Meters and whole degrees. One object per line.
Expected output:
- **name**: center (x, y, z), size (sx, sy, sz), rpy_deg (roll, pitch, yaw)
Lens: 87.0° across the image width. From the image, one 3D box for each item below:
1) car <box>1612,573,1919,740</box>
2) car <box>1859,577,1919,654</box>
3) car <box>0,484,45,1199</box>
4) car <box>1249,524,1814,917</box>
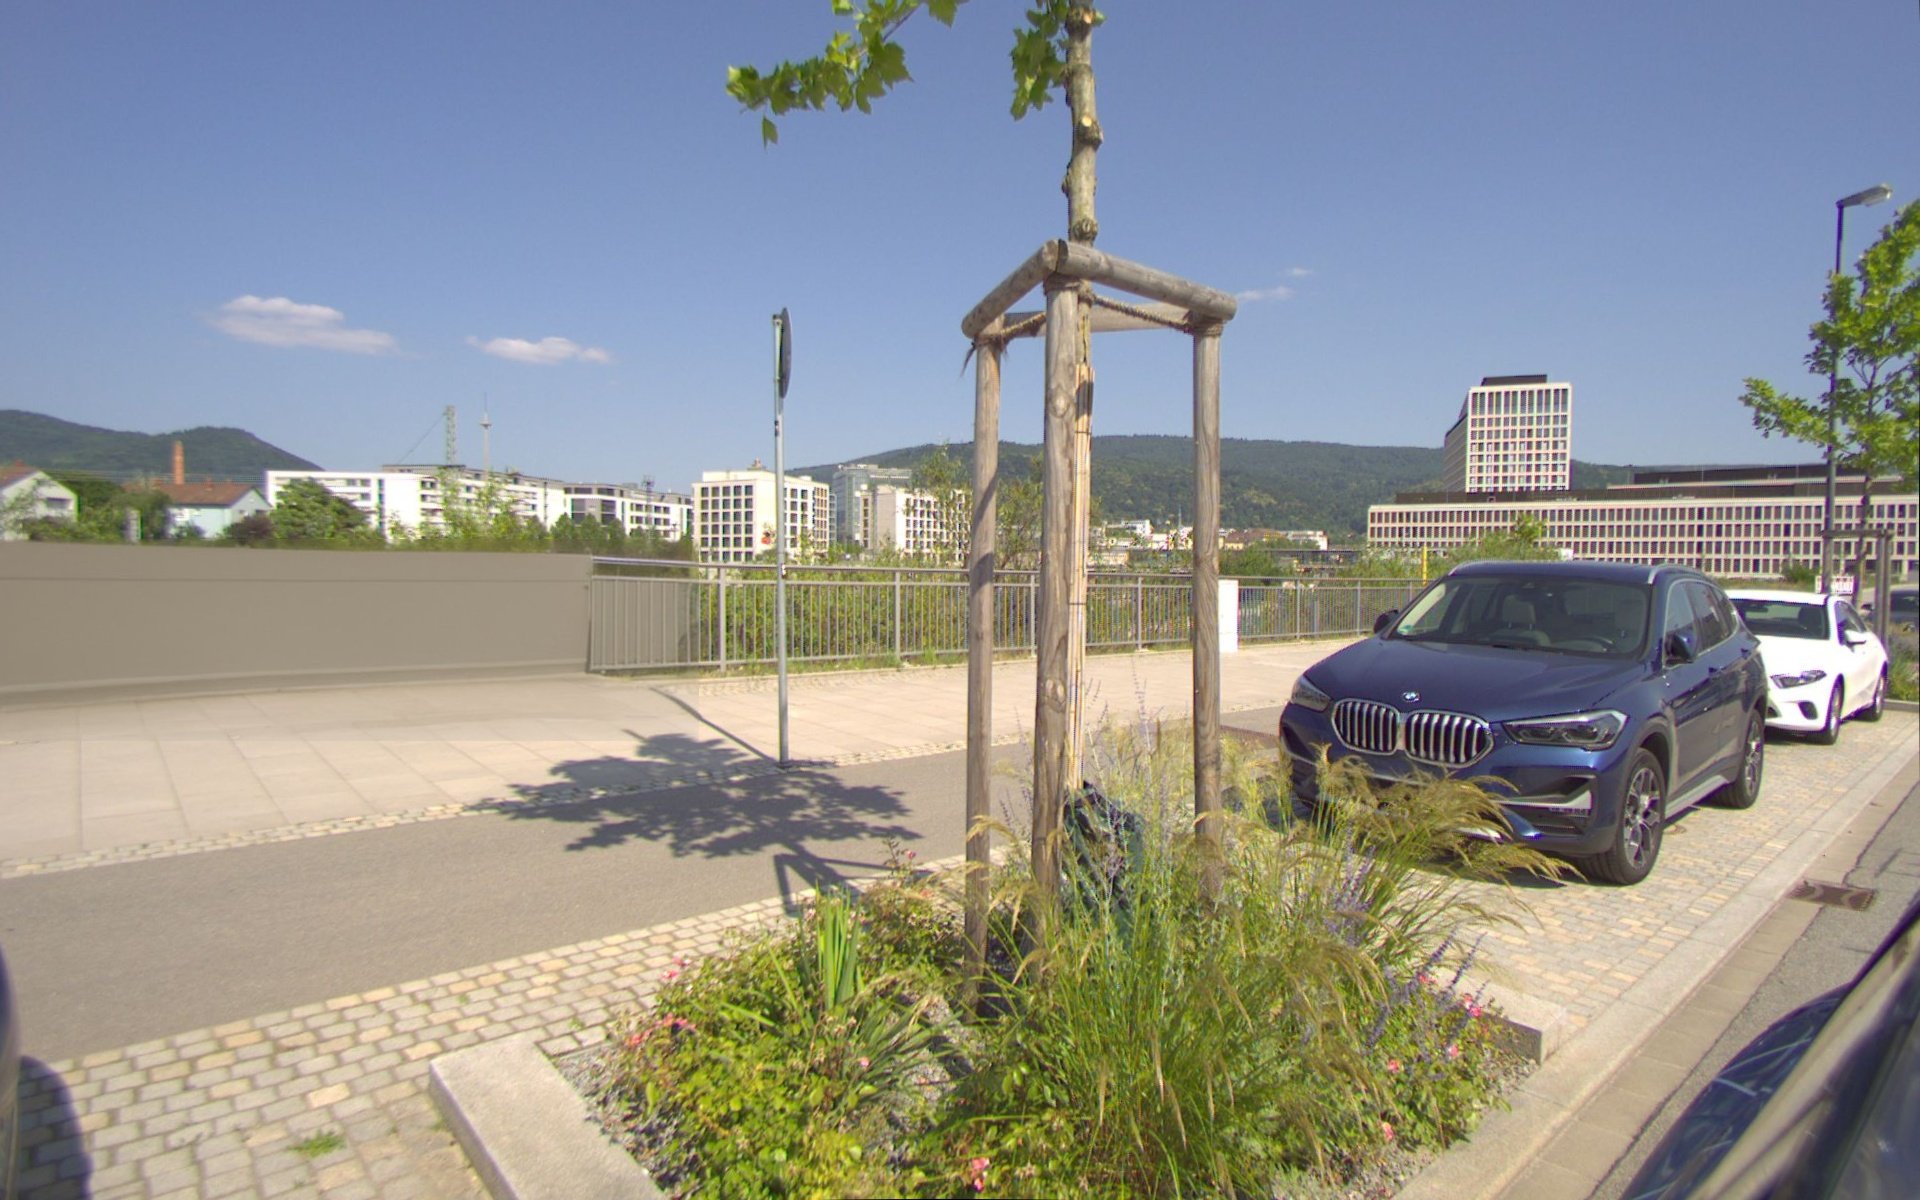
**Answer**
- **car**: center (8.873, 0.458, 11.016), size (4.194, 1.390, 1.711), rpy_deg (-1, 5, -39)
- **car**: center (20.274, 0.298, 21.067), size (3.849, 1.449, 1.808), rpy_deg (-1, 5, -41)
- **car**: center (-2.840, 0.609, 0.507), size (3.485, 1.574, 1.585), rpy_deg (0, 4, -42)
- **car**: center (3.826, 0.436, 6.441), size (4.197, 1.703, 1.807), rpy_deg (-1, 4, -41)
